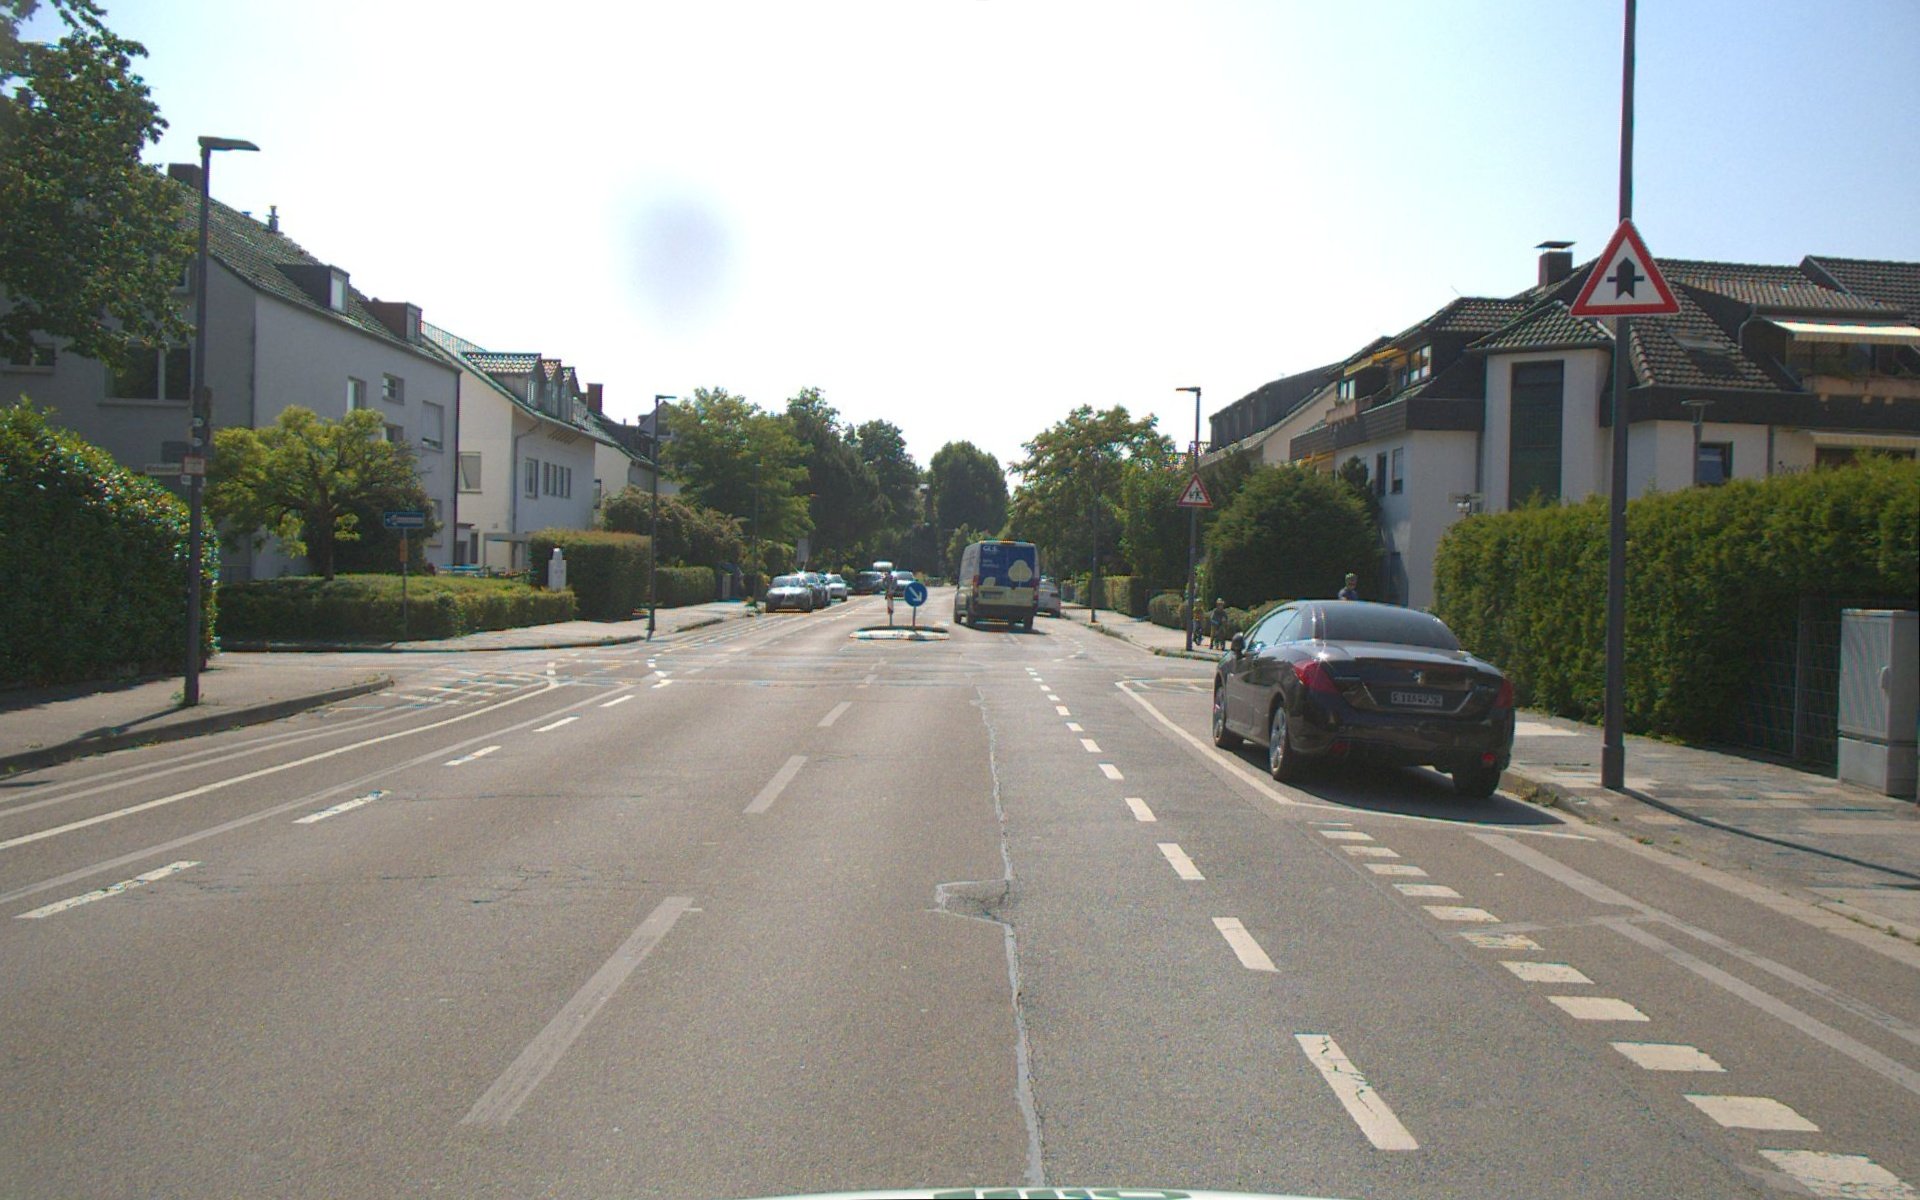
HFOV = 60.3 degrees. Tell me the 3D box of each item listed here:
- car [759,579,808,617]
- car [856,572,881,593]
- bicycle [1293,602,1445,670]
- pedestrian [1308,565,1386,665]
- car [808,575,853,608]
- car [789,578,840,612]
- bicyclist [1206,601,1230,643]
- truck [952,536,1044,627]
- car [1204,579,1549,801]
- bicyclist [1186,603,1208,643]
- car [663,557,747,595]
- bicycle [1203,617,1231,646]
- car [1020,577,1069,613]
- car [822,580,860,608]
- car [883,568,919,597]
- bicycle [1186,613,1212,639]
[{"bbox_3d":[-6.985,-0.117,65.703,1.750,1.465,4.152,0,1,-3],"label":"car"},{"bbox_3d":[-6.788,-1.312,123.090,1.745,1.485,4.085,1,1,-1],"label":"car"},{"bbox_3d":[7.782,0.664,31.525,2.654,1.178,0.861,2,0,32],"label":"bicycle"},{"bbox_3d":[7.528,0.281,32.214,0.890,1.905,1.175,1,0,-33],"label":"pedestrian"},{"bbox_3d":[-6.181,-0.402,79.314,1.749,1.465,4.000,3,1,0],"label":"car"},{"bbox_3d":[-6.343,-0.240,72.470,1.748,1.465,4.111,0,1,1],"label":"car"},{"bbox_3d":[5.918,0.498,37.983,0.393,0.946,0.657,1,0,-3],"label":"bicyclist"},{"bbox_3d":[1.099,-0.559,50.737,2.228,2.616,4.386,1,0,-6],"label":"truck"},{"bbox_3d":[3.327,0.638,14.098,1.702,1.494,4.344,4,0,-1],"label":"car"},{"bbox_3d":[5.802,0.558,40.523,0.390,0.949,0.608,1,0,-3],"label":"bicyclist"},{"bbox_3d":[-12.999,-1.228,84.517,3.905,1.790,2.000,2,1,0],"label":"car"},{"bbox_3d":[5.895,0.718,37.970,0.393,0.610,1.173,1,1,-3],"label":"bicycle"},{"bbox_3d":[3.505,-0.226,69.016,1.705,1.426,4.073,1,1,-1],"label":"car"},{"bbox_3d":[-6.388,-0.346,89.043,1.749,1.465,4.000,1,1,-1],"label":"car"},{"bbox_3d":[-3.491,-1.027,98.419,1.875,1.695,4.506,0,0,1],"label":"car"},{"bbox_3d":[5.819,0.632,40.307,0.393,0.610,1.150,1,1,-3],"label":"bicycle"}]
